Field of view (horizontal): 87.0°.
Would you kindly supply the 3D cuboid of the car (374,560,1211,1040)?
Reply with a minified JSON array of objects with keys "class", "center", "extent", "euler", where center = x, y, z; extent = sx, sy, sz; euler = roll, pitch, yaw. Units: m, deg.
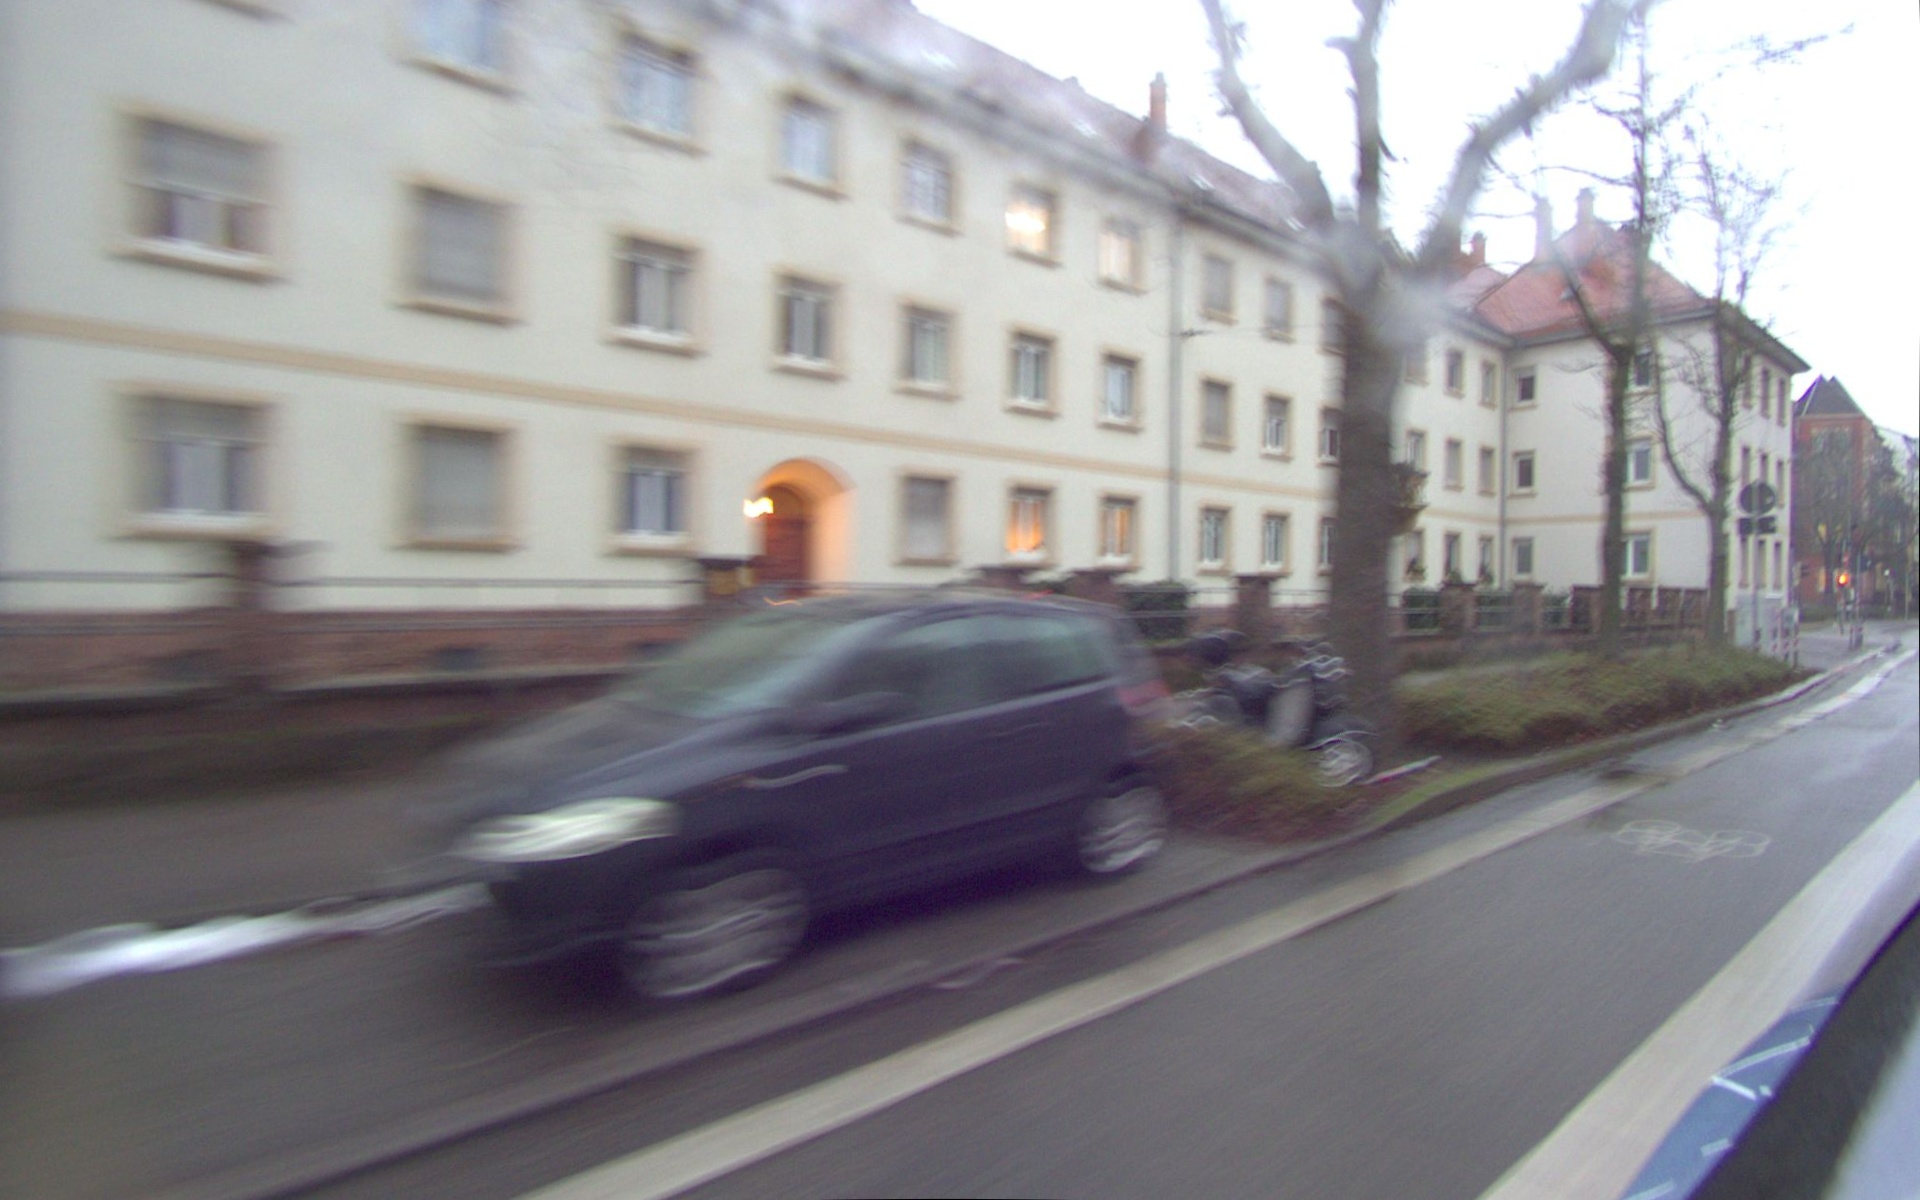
[{"class":"car","center":[-0.606,0.621,5.207],"extent":[3.918,1.528,1.788],"euler":[-1,0,-41]}]
